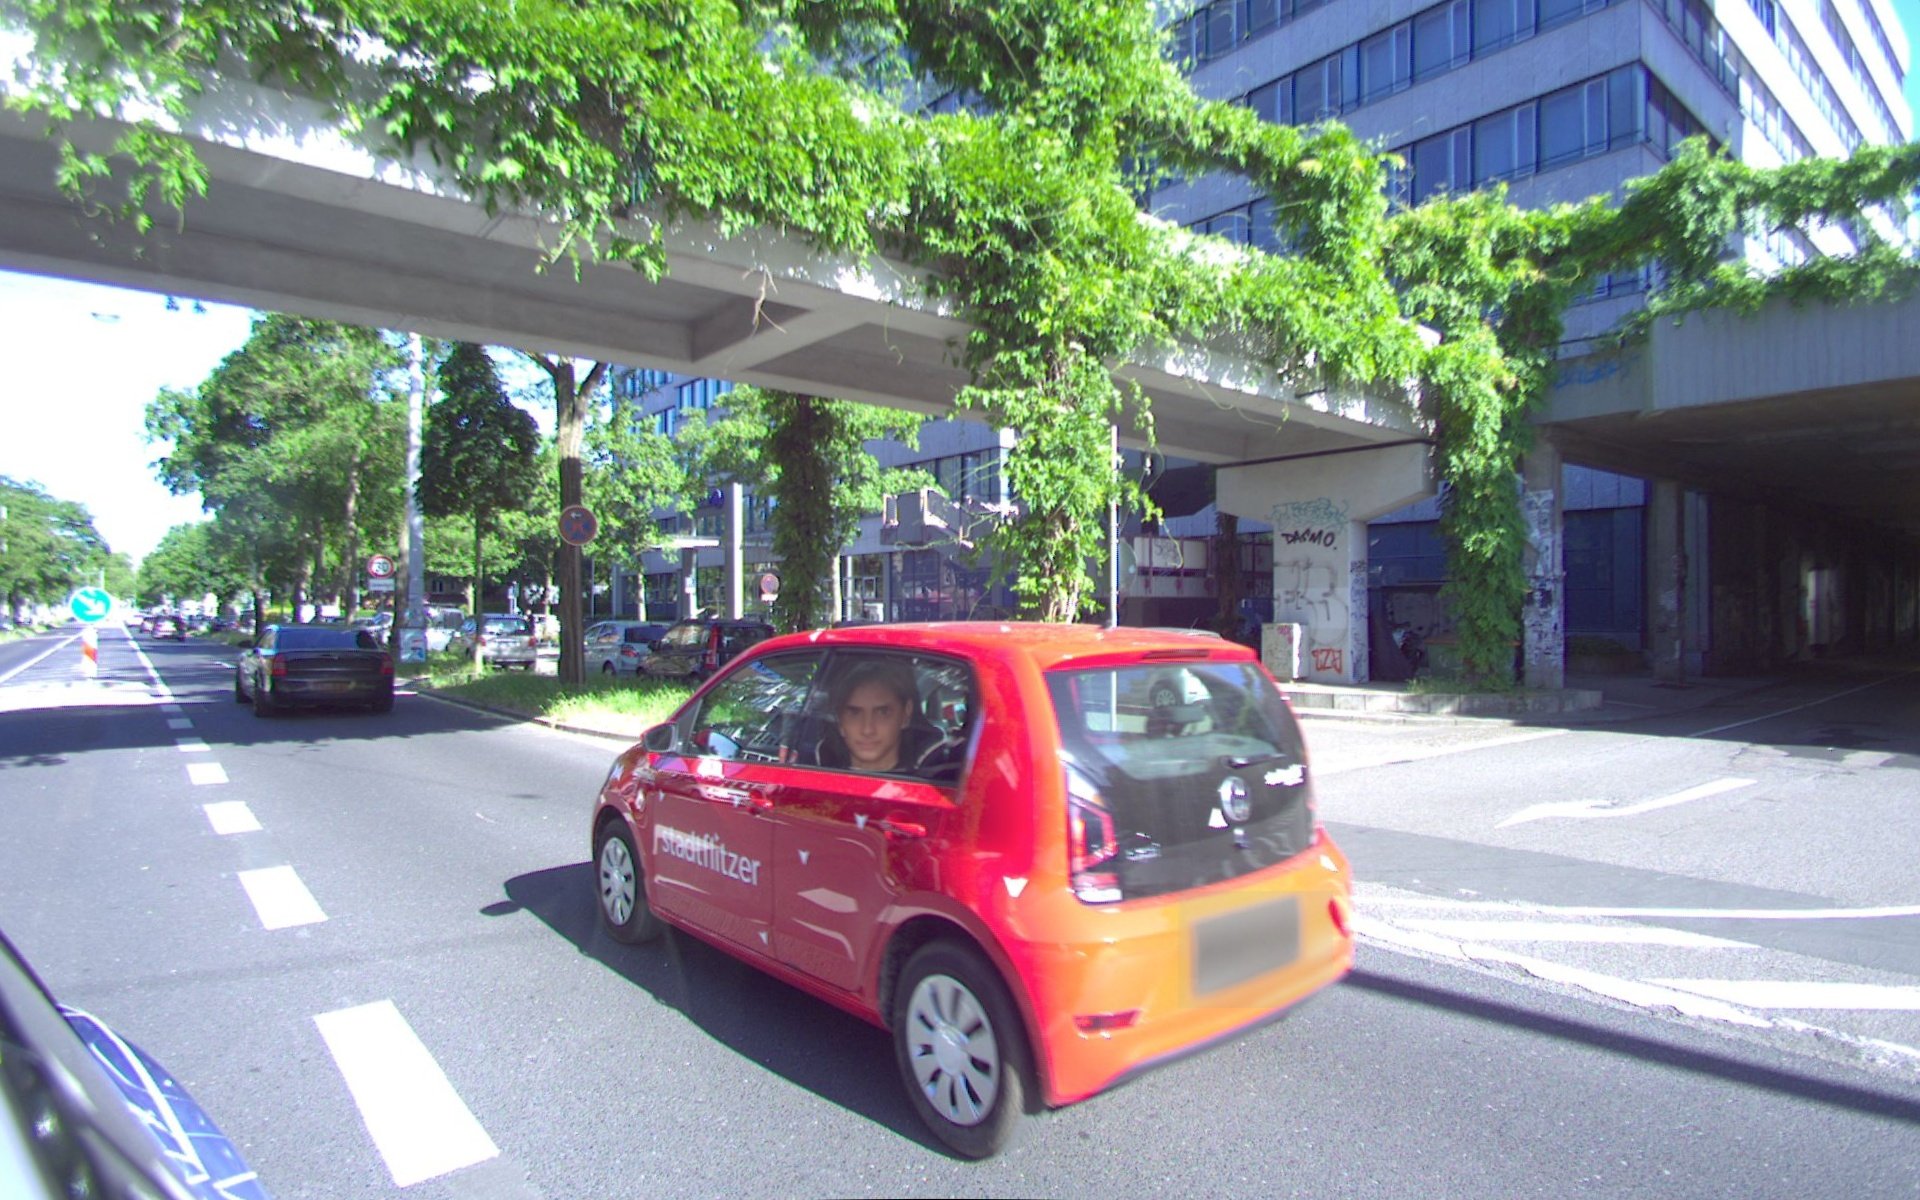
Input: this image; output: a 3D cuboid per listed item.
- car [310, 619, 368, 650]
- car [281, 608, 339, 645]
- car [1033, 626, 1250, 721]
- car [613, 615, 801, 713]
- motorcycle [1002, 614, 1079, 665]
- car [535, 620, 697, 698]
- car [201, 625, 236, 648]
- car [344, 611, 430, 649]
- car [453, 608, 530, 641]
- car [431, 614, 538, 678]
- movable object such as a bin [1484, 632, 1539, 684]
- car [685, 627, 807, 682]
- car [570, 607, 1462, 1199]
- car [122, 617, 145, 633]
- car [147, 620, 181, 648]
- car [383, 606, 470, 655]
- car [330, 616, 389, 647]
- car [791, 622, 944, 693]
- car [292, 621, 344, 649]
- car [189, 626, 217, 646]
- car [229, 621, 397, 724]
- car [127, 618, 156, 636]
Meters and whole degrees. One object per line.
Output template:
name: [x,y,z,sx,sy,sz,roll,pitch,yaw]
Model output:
car: [-29.042,1.588,47.284,1.632,1.354,3.975,0,-1,-41]
car: [-35.613,1.436,55.410,2.039,1.923,4.532,0,-1,-41]
car: [3.145,1.218,18.061,1.586,1.497,3.653,1,-1,-41]
car: [-4.578,1.070,17.985,1.718,1.550,3.785,4,-3,-40]
motorcycle: [2.043,0.993,26.039,0.720,1.280,2.056,1,-1,-41]
car: [-7.292,1.194,21.219,1.632,1.459,4.288,5,-4,-41]
car: [-51.314,2.528,69.996,1.714,1.501,4.007,0,-1,-39]
car: [-22.380,1.142,39.465,4.494,1.394,1.697,-1,-1,44]
car: [-28.129,1.444,60.803,3.934,1.726,1.709,-3,1,-35]
car: [-13.454,1.235,28.516,1.750,1.659,4.090,1,-1,-40]
movable object such as a bin: [10.132,1.057,18.600,0.631,0.912,0.720,1,-1,-42]
car: [-6.112,1.494,28.728,1.661,1.414,3.805,1,-2,-43]
car: [-0.128,0.768,4.097,1.631,1.439,3.512,1,-1,-41]
car: [-86.928,2.644,106.396,1.765,1.596,4.194,0,-1,-41]
car: [-45.450,1.914,57.801,1.448,1.539,2.821,1,-2,-39]
car: [-18.358,1.011,34.748,1.708,1.561,4.455,0,-1,-41]
car: [-25.550,1.305,43.027,1.630,1.236,3.854,0,-1,-39]
car: [-2.305,1.314,24.452,1.711,1.541,4.006,1,-2,-40]
car: [-32.523,1.727,51.228,1.654,1.343,4.195,0,-1,-40]
car: [-58.880,2.764,78.713,1.581,1.425,4.007,0,-1,-39]
car: [-10.997,1.101,17.050,1.842,1.469,4.601,1,-2,-39]
car: [-68.826,2.251,85.113,1.765,1.433,4.195,2,-2,-40]
